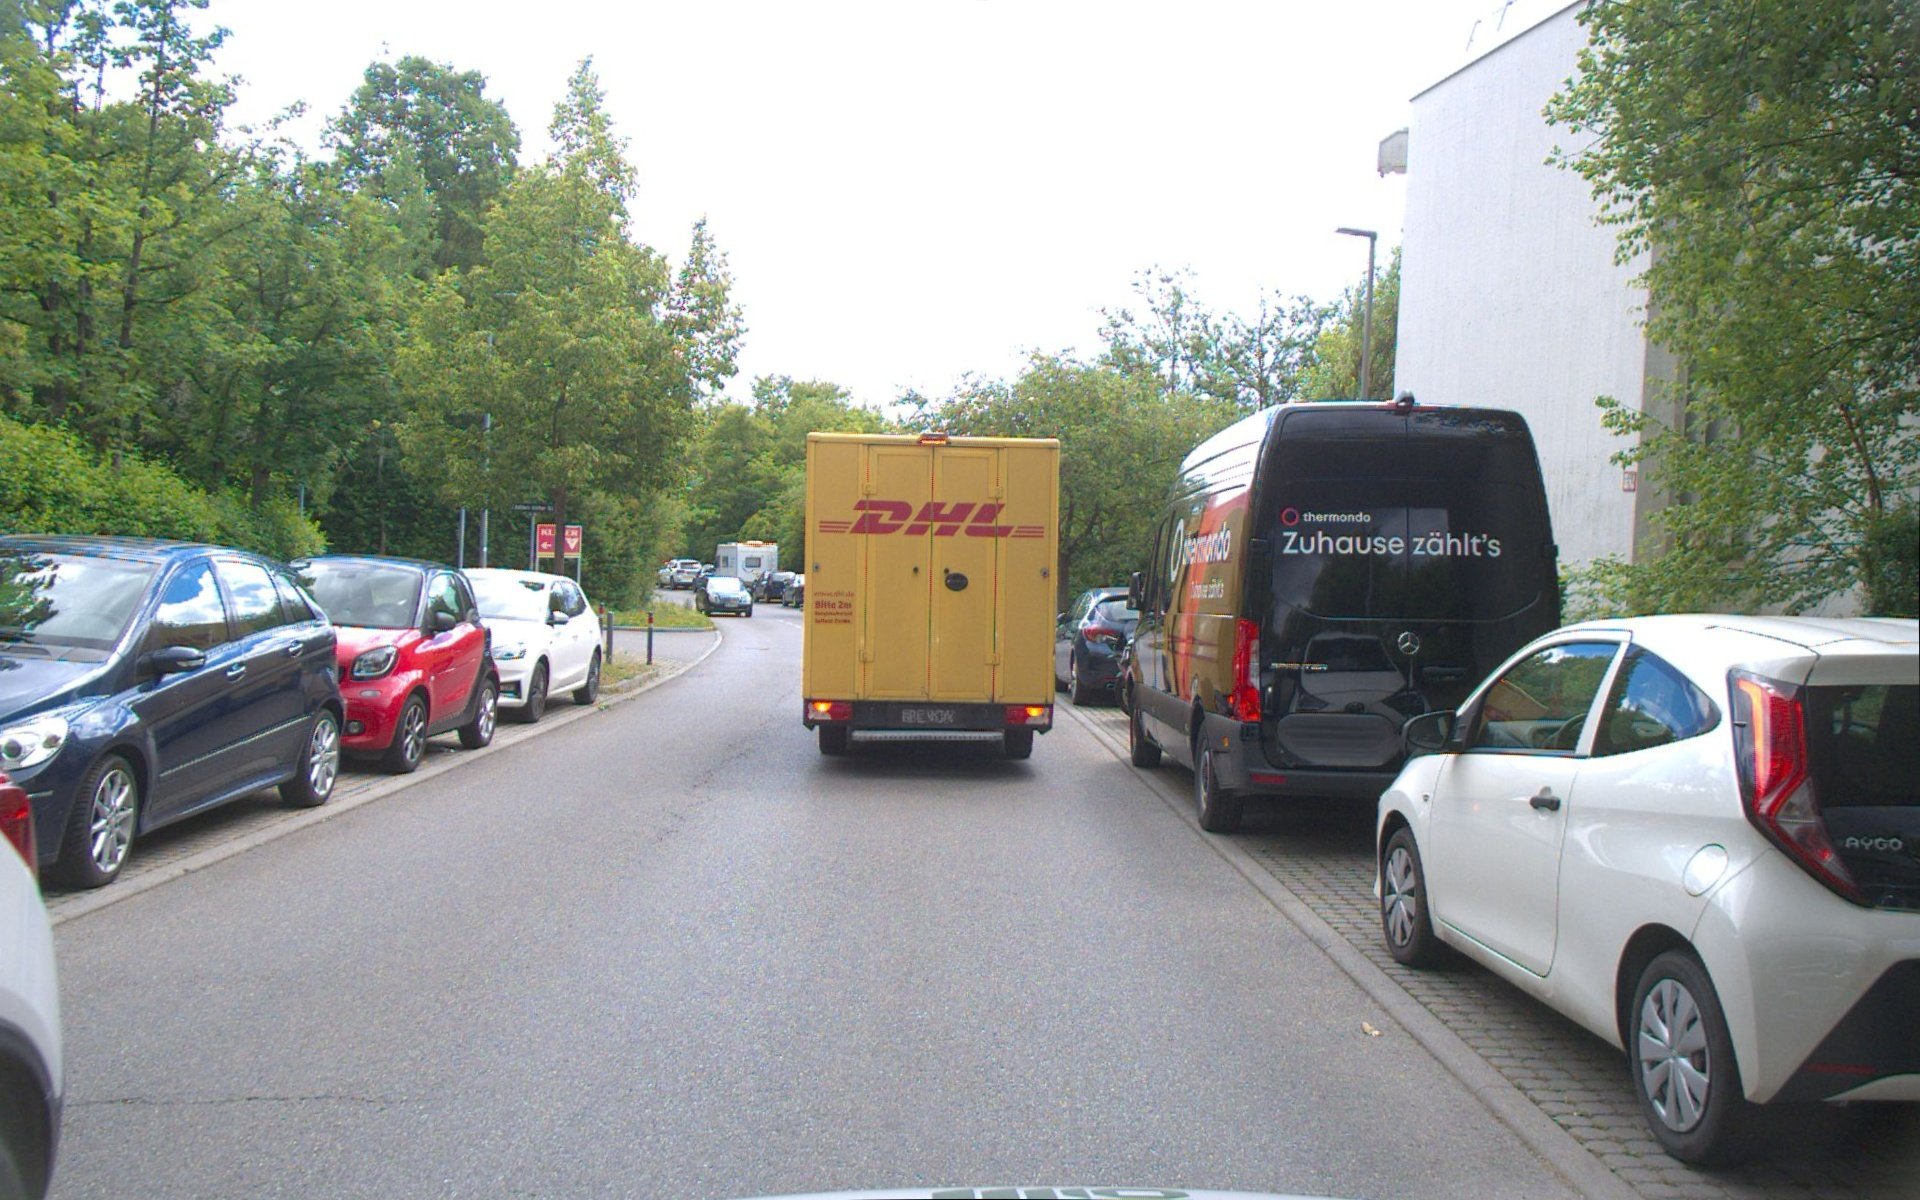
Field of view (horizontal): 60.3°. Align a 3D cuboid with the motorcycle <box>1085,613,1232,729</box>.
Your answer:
[{"bbox_3d":[2.125,0.741,18.027,0.883,1.131,2.077,2,0,-14],"label":"motorcycle"}]

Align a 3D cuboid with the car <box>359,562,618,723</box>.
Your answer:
[{"bbox_3d":[-4.923,0.379,17.806,1.641,1.461,3.969,3,1,-1],"label":"car"}]

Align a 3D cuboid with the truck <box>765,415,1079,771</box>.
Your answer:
[{"bbox_3d":[-0.453,-0.102,16.478,2.417,2.749,6.821,1,1,-3],"label":"truck"}]

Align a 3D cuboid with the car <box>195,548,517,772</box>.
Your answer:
[{"bbox_3d":[-4.698,0.416,13.225,1.497,1.532,2.713,3,1,0],"label":"car"}]

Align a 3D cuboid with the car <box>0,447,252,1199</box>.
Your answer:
[{"bbox_3d":[-2.210,0.605,1.188,1.712,1.639,4.051,1,1,-1],"label":"car"}]

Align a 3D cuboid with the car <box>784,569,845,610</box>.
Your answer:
[{"bbox_3d":[-6.501,-0.480,73.500,1.815,1.556,3.981,2,2,-18],"label":"car"}]

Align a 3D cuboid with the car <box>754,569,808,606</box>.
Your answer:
[{"bbox_3d":[-8.745,-0.608,80.709,1.815,1.556,3.981,2,2,-18],"label":"car"}]

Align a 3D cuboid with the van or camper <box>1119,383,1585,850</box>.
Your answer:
[{"bbox_3d":[2.431,0.079,11.855,1.953,2.567,5.470,0,0,-1],"label":"van or camper"}]

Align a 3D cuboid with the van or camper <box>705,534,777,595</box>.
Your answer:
[{"bbox_3d":[-11.597,-1.892,87.438,2.293,2.921,5.223,3,2,-24],"label":"van or camper"}]

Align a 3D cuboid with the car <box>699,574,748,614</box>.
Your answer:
[{"bbox_3d":[-8.949,-0.243,62.776,1.642,1.378,3.965,3,1,-6],"label":"car"}]

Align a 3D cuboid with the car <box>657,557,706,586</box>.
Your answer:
[{"bbox_3d":[-16.789,-1.730,99.637,1.821,1.556,3.968,2,2,-26],"label":"car"}]

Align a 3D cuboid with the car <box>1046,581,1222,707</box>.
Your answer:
[{"bbox_3d":[2.231,0.542,22.238,1.694,1.458,3.966,3,0,-3],"label":"car"}]

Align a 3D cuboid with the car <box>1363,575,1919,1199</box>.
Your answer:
[{"bbox_3d":[2.640,0.697,5.693,1.531,1.522,3.329,1,1,-3],"label":"car"}]

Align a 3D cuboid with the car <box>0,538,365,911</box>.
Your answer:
[{"bbox_3d":[-4.833,0.477,8.992,1.847,1.586,3.837,2,1,-2],"label":"car"}]
